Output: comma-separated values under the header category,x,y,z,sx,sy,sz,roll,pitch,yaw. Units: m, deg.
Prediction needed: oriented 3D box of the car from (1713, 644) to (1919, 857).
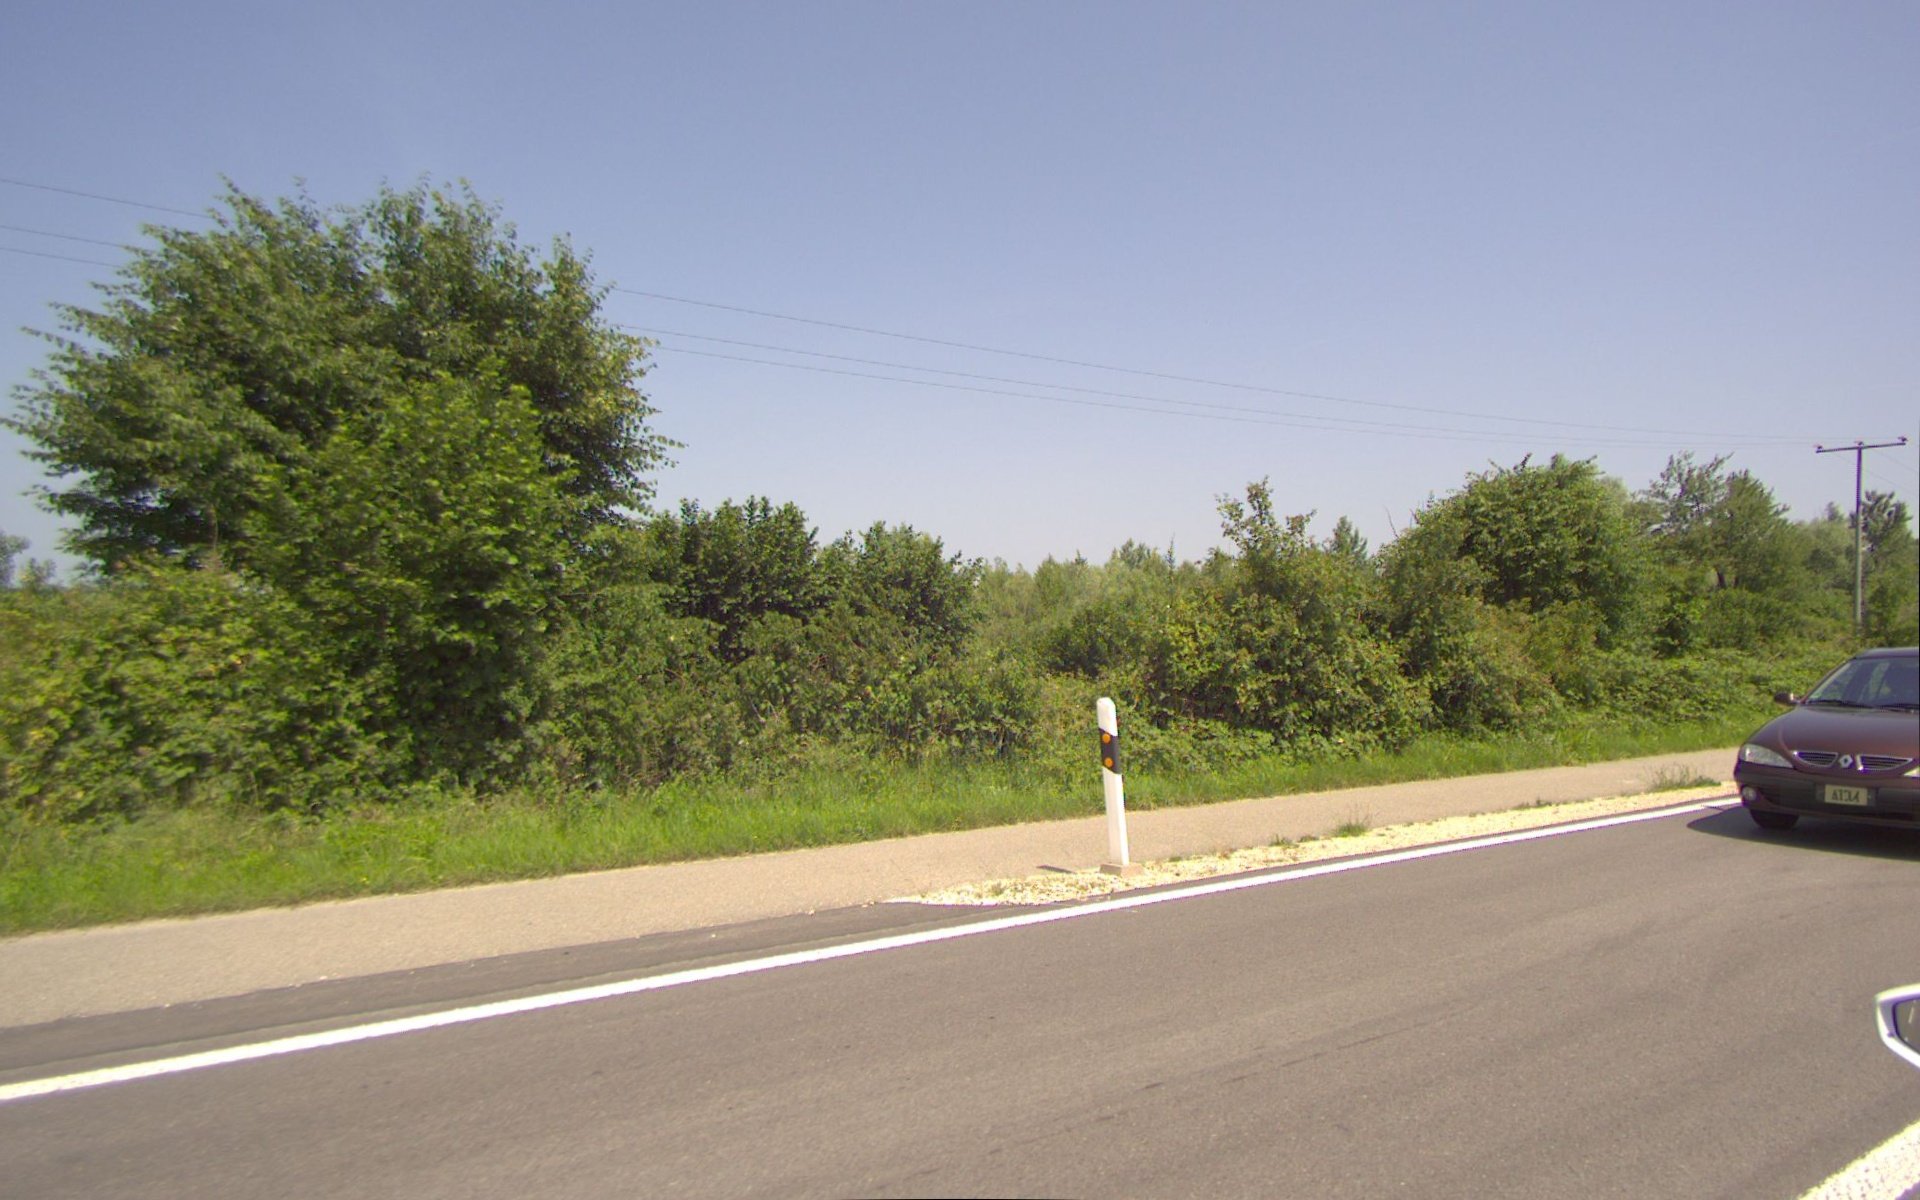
category,x,y,z,sx,sy,sz,roll,pitch,yaw
car,7.980,1.072,8.074,3.999,1.424,1.686,1,-3,-31
